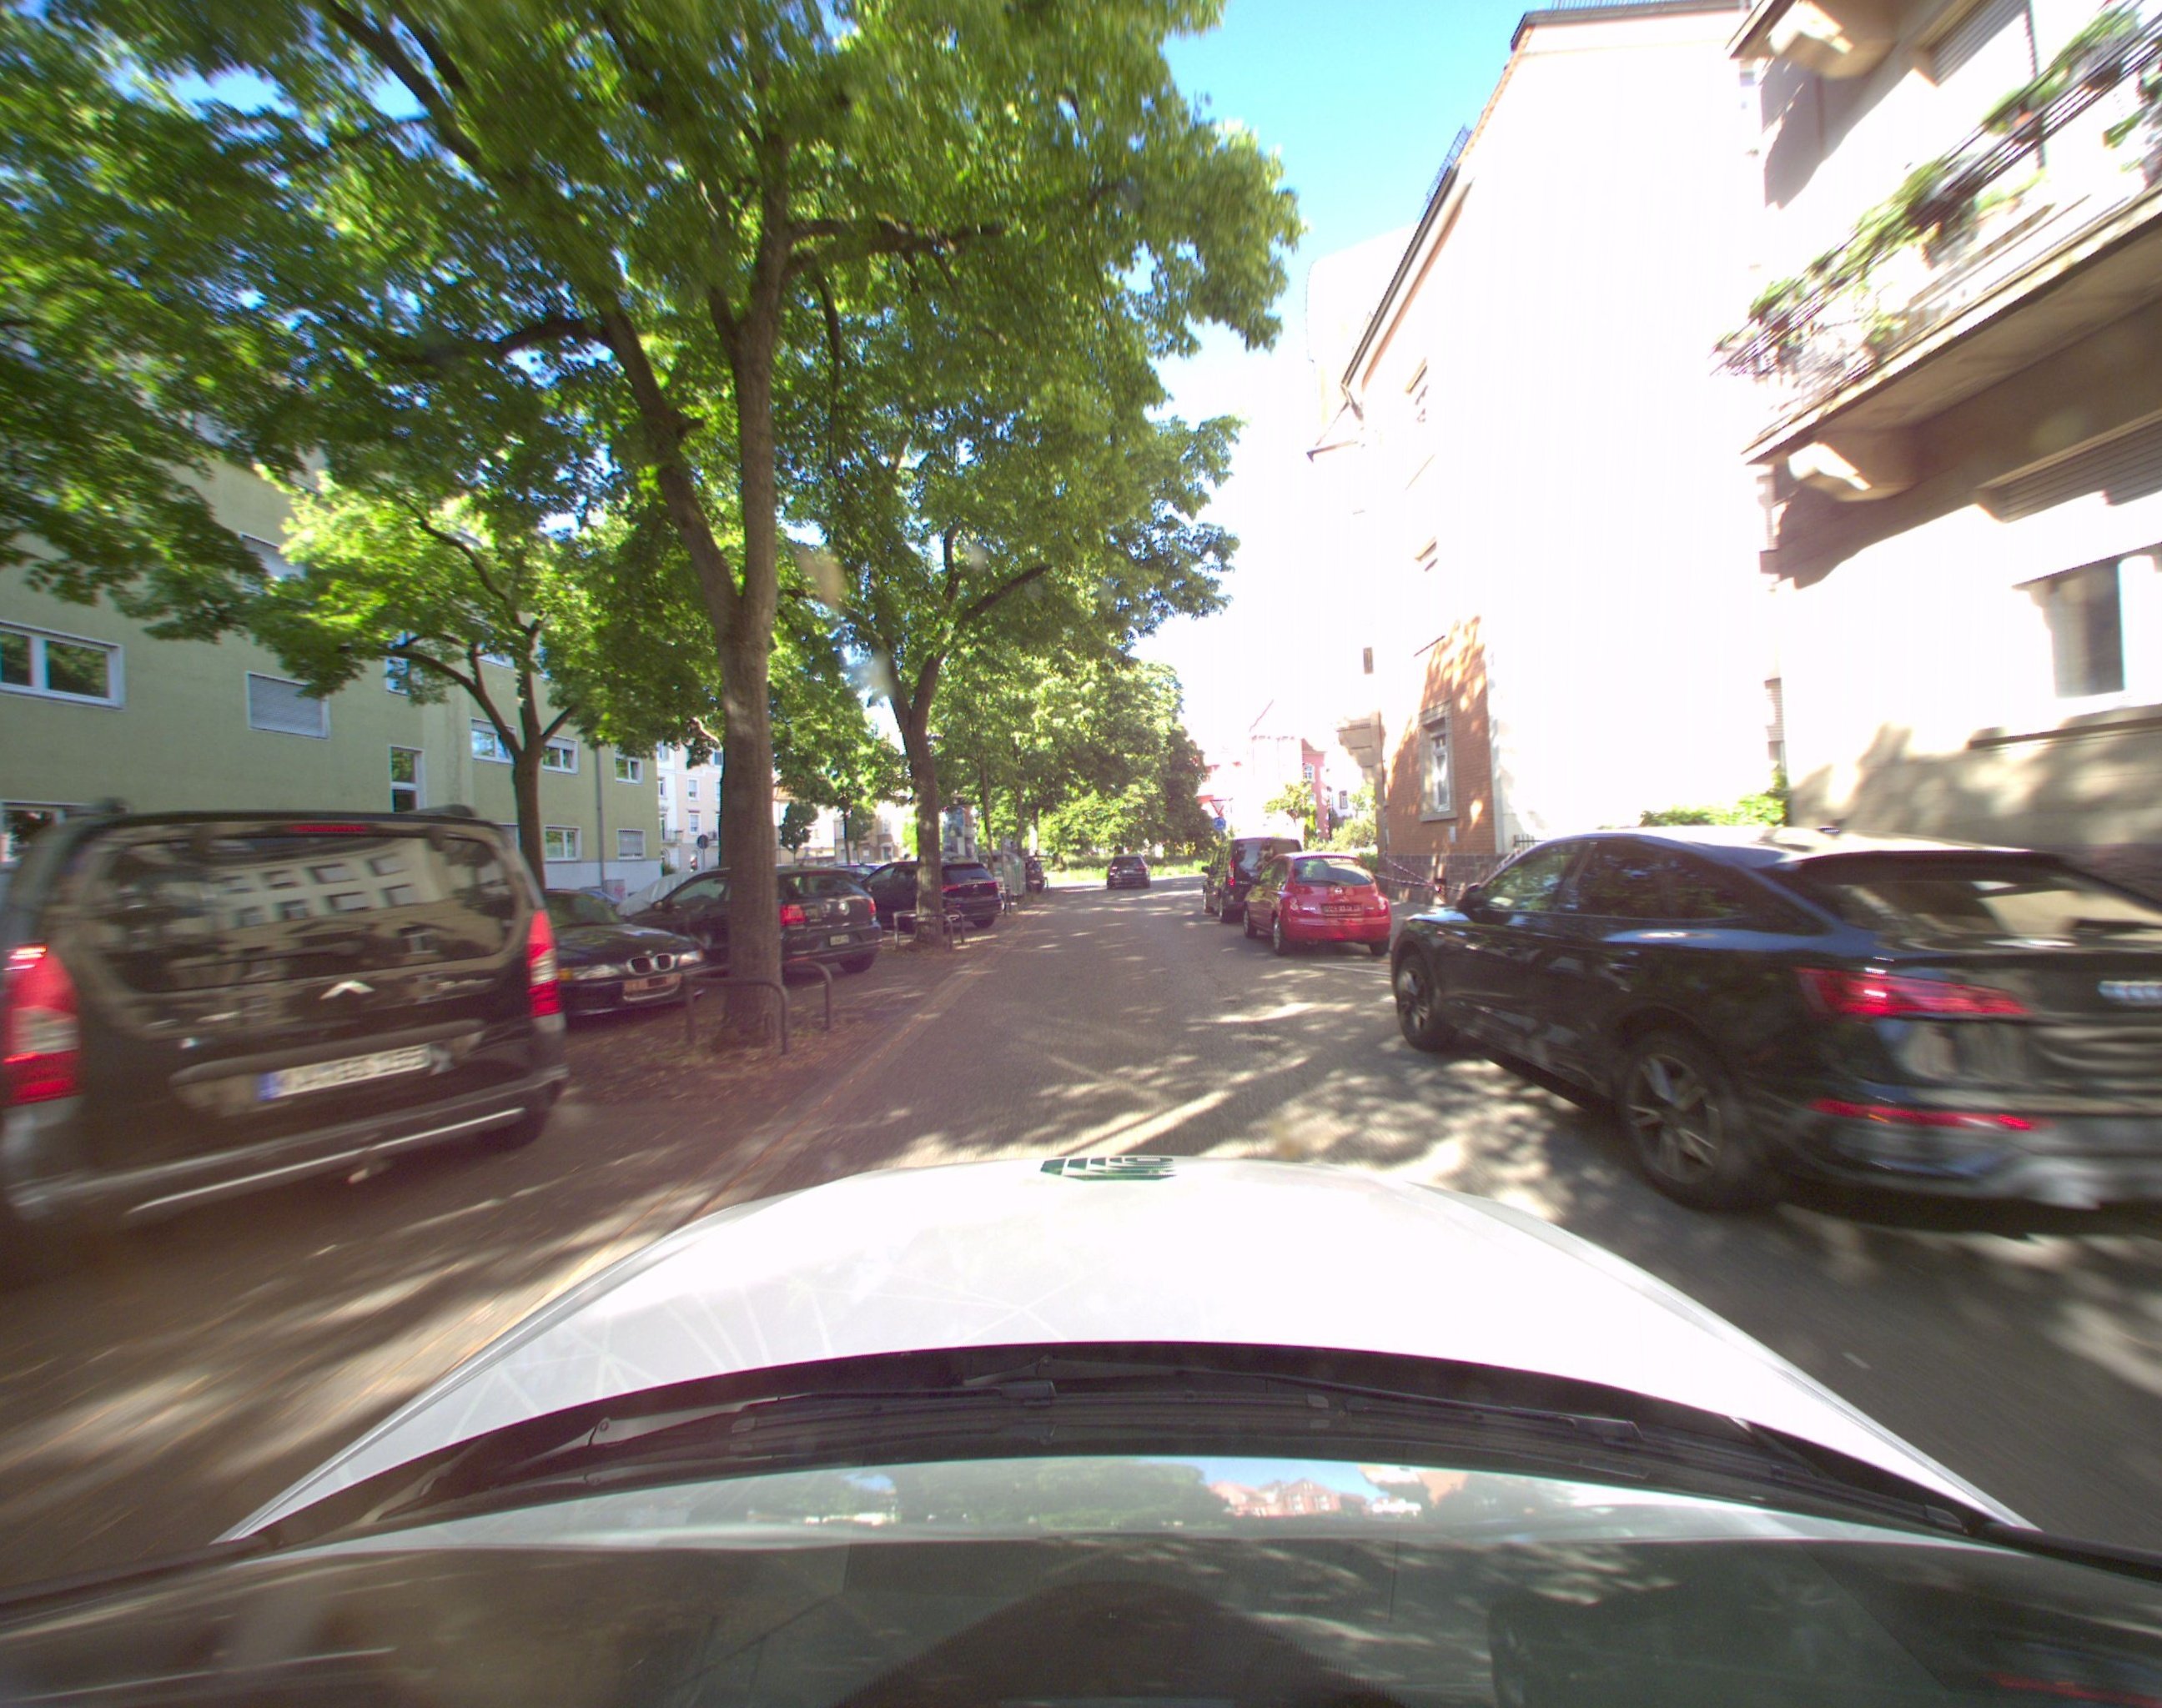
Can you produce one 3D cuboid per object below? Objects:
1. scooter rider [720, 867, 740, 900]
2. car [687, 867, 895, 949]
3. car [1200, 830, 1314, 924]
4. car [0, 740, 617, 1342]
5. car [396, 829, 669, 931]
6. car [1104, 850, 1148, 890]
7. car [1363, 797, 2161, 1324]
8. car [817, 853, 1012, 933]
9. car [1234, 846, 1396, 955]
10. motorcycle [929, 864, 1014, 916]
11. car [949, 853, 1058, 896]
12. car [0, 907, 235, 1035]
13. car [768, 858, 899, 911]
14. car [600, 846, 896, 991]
[{"bbox_3d":[-16.312,1.371,37.885,0.518,1.529,0.611,-3,0,39],"label":"scooter rider"},{"bbox_3d":[-5.287,0.896,14.775,3.522,1.247,1.668,0,1,31],"label":"car"},{"bbox_3d":[3.848,0.448,18.524,1.794,1.871,4.275,1,0,2],"label":"car"},{"bbox_3d":[-4.462,0.608,4.373,3.801,1.888,1.856,-2,1,34],"label":"car"},{"bbox_3d":[-9.467,0.381,14.095,4.105,1.554,1.842,1,0,21],"label":"car"},{"bbox_3d":[1.944,0.631,34.903,1.707,1.483,4.148,-4,0,3],"label":"car"},{"bbox_3d":[3.407,0.637,4.839,1.858,1.643,4.490,-1,0,-1],"label":"car"},{"bbox_3d":[-3.528,0.768,16.917,4.049,1.466,1.878,-2,-1,41],"label":"car"},{"bbox_3d":[3.688,0.651,13.519,1.639,1.537,4.002,0,0,2],"label":"car"},{"bbox_3d":[-2.698,0.881,20.135,1.930,1.171,0.519,-3,0,4],"label":"motorcycle"},{"bbox_3d":[-2.976,0.786,30.891,4.089,1.481,1.787,-3,-1,42],"label":"car"},{"bbox_3d":[-15.088,1.659,11.566,1.768,1.494,4.144,-2,0,0],"label":"car"},{"bbox_3d":[-8.207,1.007,27.082,3.761,1.466,1.651,-4,0,13],"label":"car"},{"bbox_3d":[-4.405,0.769,10.663,3.690,1.582,1.647,-2,0,31],"label":"car"}]
